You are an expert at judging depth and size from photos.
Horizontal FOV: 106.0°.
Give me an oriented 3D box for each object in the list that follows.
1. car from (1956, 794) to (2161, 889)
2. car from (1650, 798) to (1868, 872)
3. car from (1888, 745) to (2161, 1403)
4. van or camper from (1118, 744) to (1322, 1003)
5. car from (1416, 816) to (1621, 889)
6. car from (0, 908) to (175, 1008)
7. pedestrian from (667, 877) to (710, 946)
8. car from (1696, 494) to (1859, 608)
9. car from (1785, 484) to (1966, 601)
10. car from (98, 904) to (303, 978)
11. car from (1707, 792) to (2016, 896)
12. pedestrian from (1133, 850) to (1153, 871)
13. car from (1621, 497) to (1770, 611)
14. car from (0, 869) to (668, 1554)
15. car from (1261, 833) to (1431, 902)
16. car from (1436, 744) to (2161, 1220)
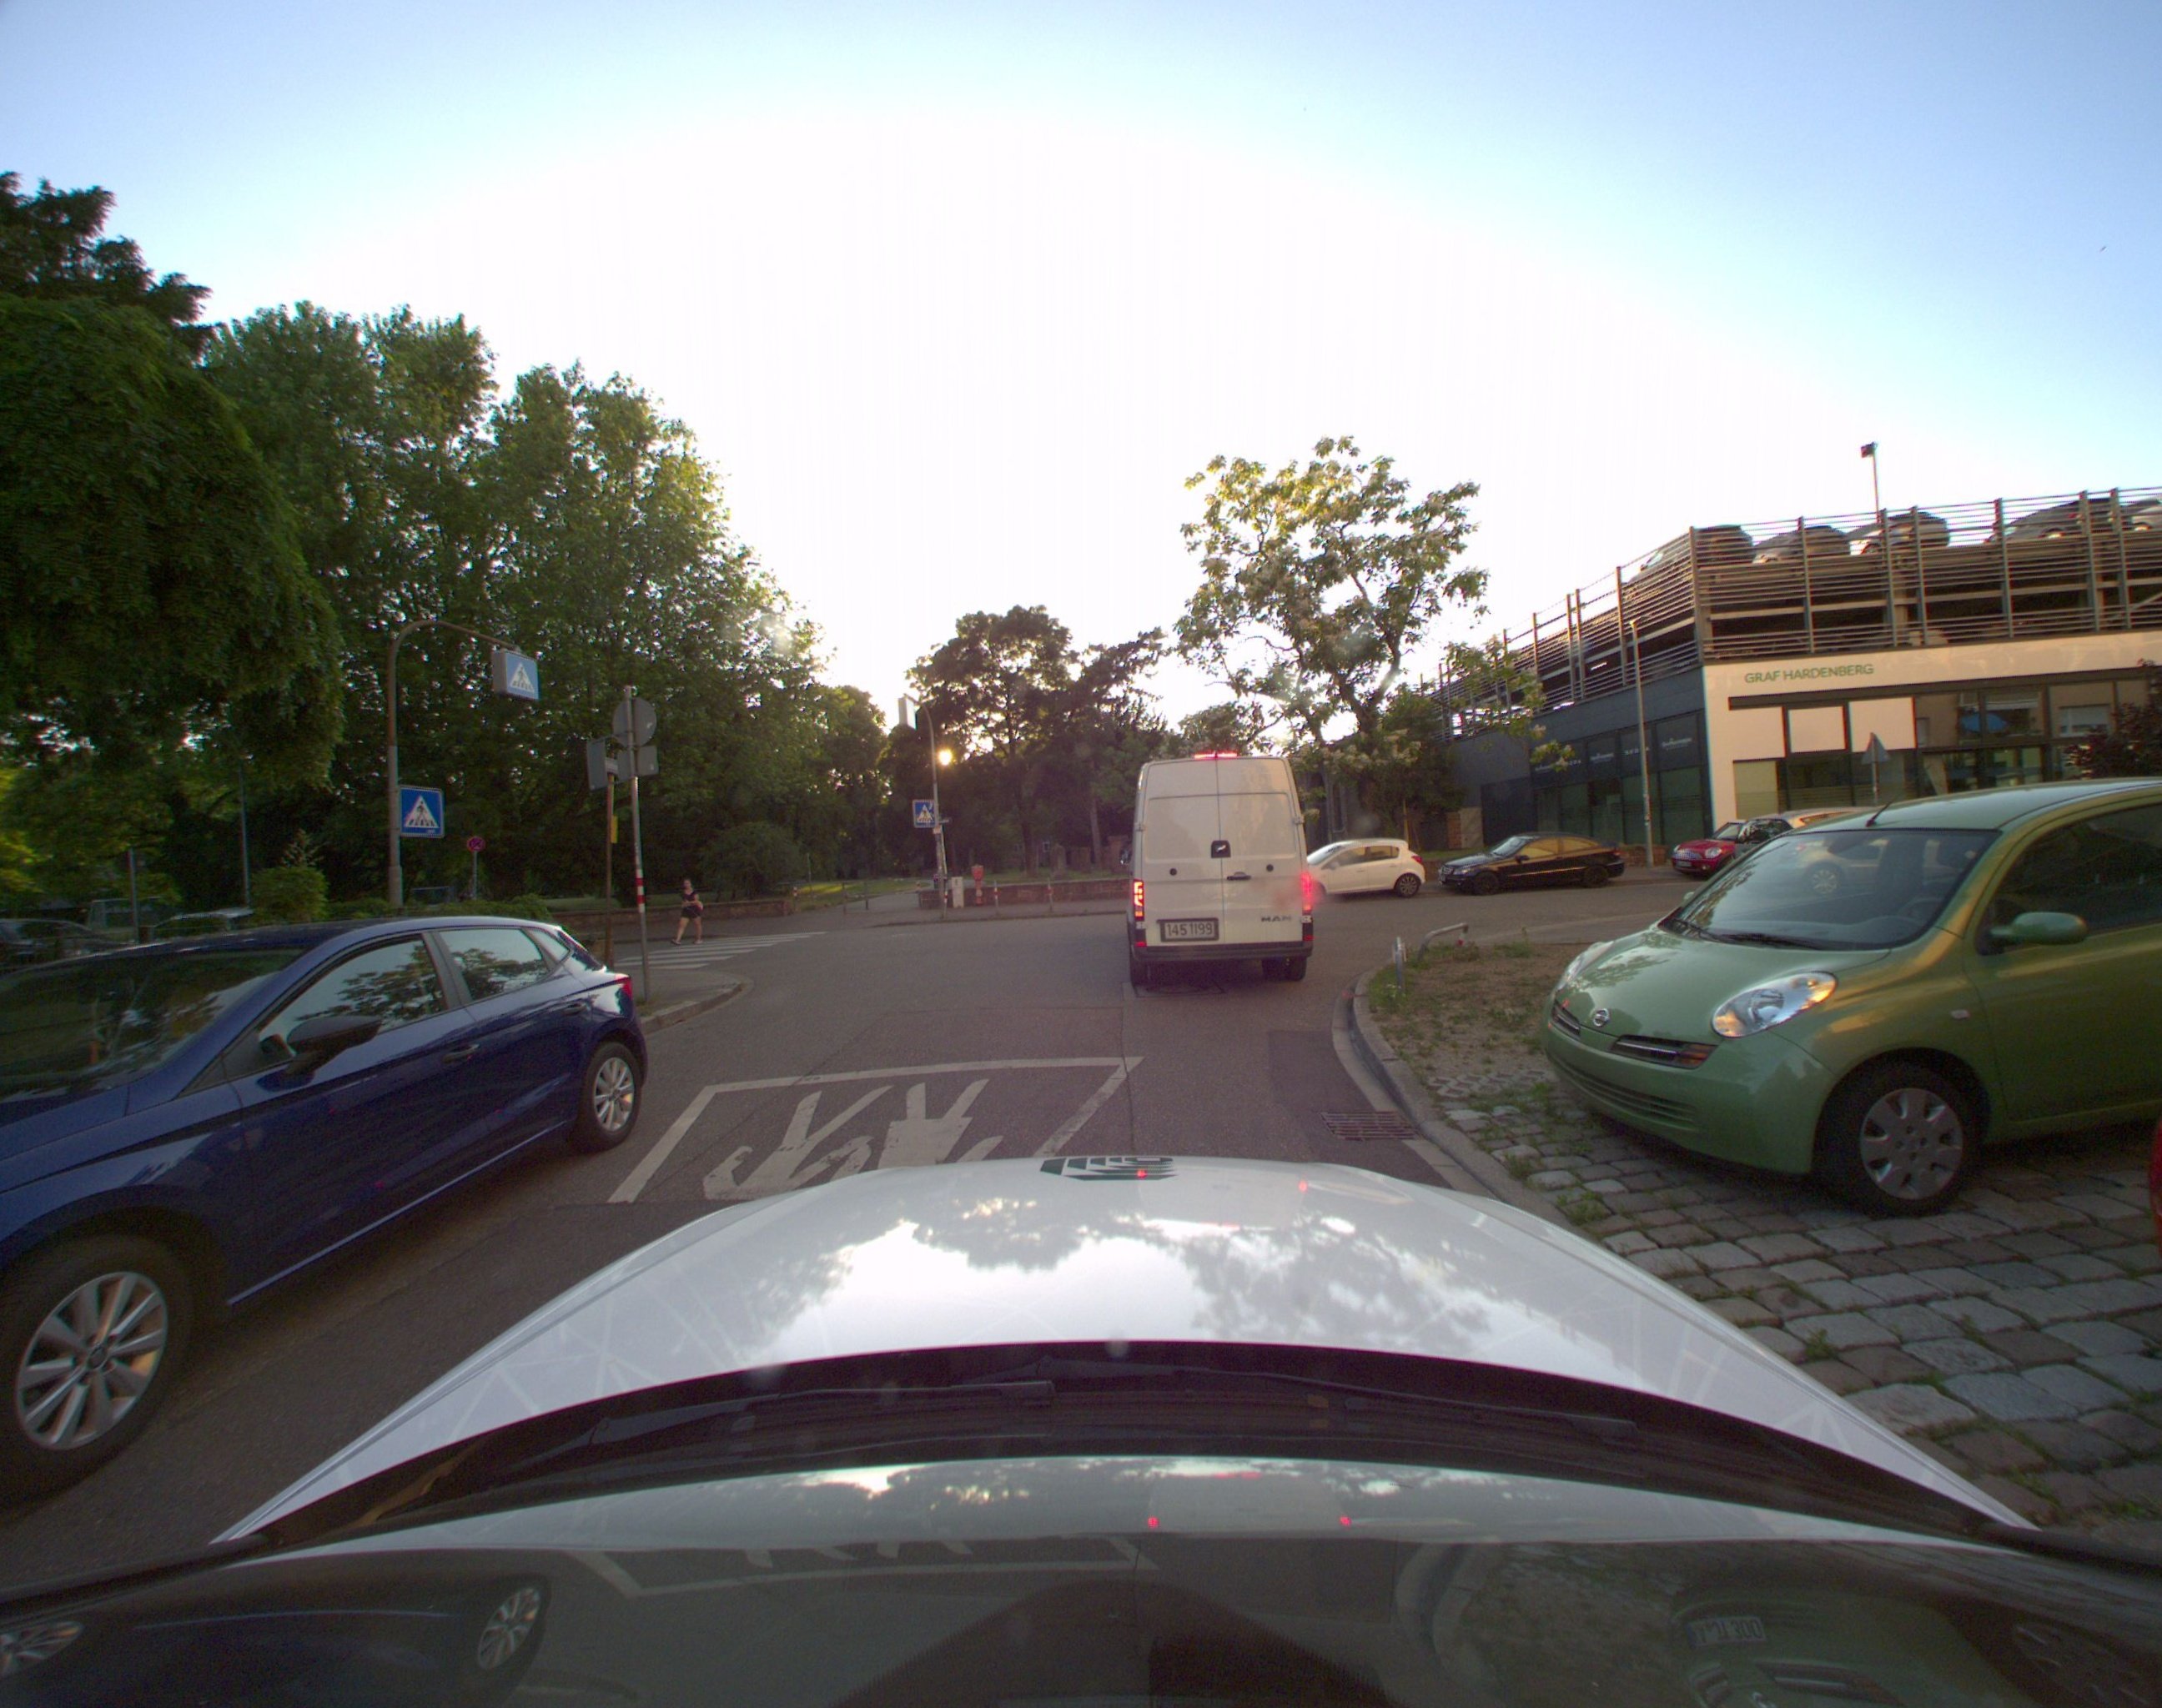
[{"bbox_3d":[18.877,-0.271,14.754,3.819,1.462,1.826,-4,0,5],"label":"car"},{"bbox_3d":[17.028,-0.454,20.623,3.819,1.503,1.826,-4,0,5],"label":"car"},{"bbox_3d":[4.768,0.294,1.547,4.386,1.631,1.847,-7,-1,3],"label":"car"},{"bbox_3d":[1.571,0.215,11.595,1.986,2.618,6.406,-2,0,2],"label":"van or camper"},{"bbox_3d":[11.295,-0.029,21.282,4.272,1.503,1.826,-4,0,5],"label":"car"},{"bbox_3d":[-21.530,2.166,16.588,4.211,1.799,1.824,-4,-4,2],"label":"car"},{"bbox_3d":[-9.817,1.424,20.390,0.641,1.649,0.677,-2,0,19],"label":"pedestrian"},{"bbox_3d":[22.025,-9.533,25.984,1.983,2.013,4.007,-2,-1,6],"label":"car"},{"bbox_3d":[24.752,-9.650,25.612,1.983,2.013,4.007,-2,-1,6],"label":"car"},{"bbox_3d":[-25.424,2.490,23.611,3.852,1.562,1.826,-4,6,4],"label":"car"},{"bbox_3d":[14.402,-0.172,15.246,3.819,1.523,1.826,-4,0,5],"label":"car"},{"bbox_3d":[4.545,0.445,59.822,1.324,1.444,1.046,-3,0,0],"label":"pedestrian"},{"bbox_3d":[19.462,-9.451,26.050,1.983,2.013,4.007,-2,-1,6],"label":"car"},{"bbox_3d":[-3.510,0.941,3.290,1.729,1.567,3.788,-5,0,-2],"label":"car"},{"bbox_3d":[6.969,0.344,21.724,3.843,1.574,1.957,-3,0,-1],"label":"car"},{"bbox_3d":[4.412,0.408,4.053,4.391,1.631,1.844,-5,-2,-2],"label":"car"}]
